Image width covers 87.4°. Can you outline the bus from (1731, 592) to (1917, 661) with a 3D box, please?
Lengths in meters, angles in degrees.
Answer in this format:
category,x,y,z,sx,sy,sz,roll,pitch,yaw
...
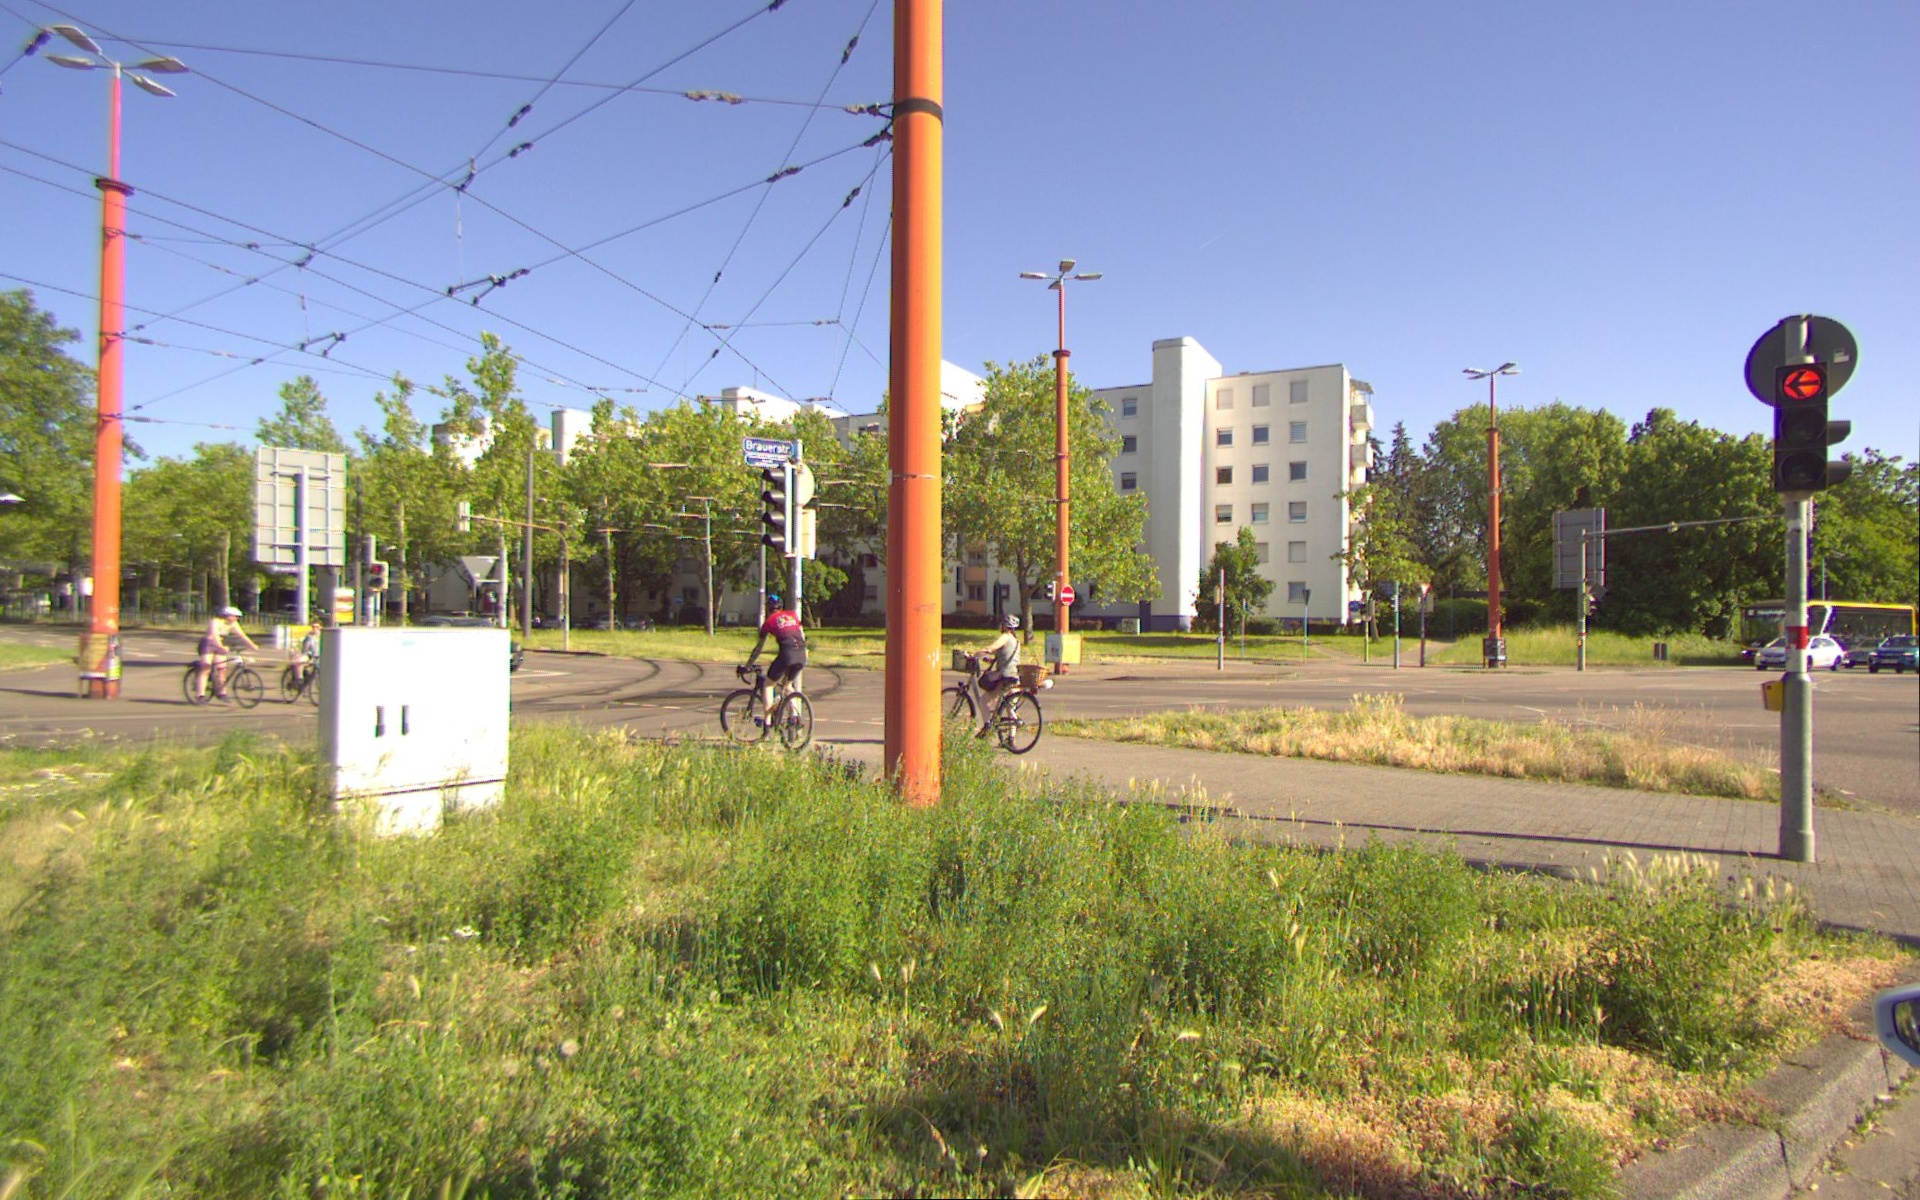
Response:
category,x,y,z,sx,sy,sz,roll,pitch,yaw
bus,45.608,1.441,52.854,12.368,3.304,2.637,2,0,-26

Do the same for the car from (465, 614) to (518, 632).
category,x,y,z,sx,sy,sz,roll,pitch,yaw
car,-38.843,1.901,83.389,3.665,1.349,1.496,2,0,-8

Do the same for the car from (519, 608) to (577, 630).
category,x,y,z,sx,sy,sz,roll,pitch,yaw
car,-32.551,1.490,79.433,3.868,1.614,1.656,2,0,-8

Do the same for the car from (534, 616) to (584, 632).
category,x,y,z,sx,sy,sz,roll,pitch,yaw
car,-30.899,1.840,77.438,3.346,1.162,1.305,2,0,-13

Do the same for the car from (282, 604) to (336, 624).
category,x,y,z,sx,sy,sz,roll,pitch,yaw
car,-66.304,1.443,102.357,4.274,2.010,1.932,1,-1,-19

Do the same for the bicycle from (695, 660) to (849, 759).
category,x,y,z,sx,sy,sz,roll,pitch,yaw
bicycle,-2.291,1.286,12.146,1.883,1.085,0.690,-2,-2,33

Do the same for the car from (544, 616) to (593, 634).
category,x,y,z,sx,sy,sz,roll,pitch,yaw
car,-29.331,1.874,75.341,3.219,1.172,1.357,2,0,-12

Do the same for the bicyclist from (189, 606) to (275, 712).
category,x,y,z,sx,sy,sz,roll,pitch,yaw
bicyclist,-13.598,1.075,18.777,0.905,1.892,0.893,2,0,17

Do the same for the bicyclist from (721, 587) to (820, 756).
category,x,y,z,sx,sy,sz,roll,pitch,yaw
bicyclist,-2.293,0.845,12.152,0.974,1.938,0.685,-1,-2,33

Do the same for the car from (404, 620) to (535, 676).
category,x,y,z,sx,sy,sz,roll,pitch,yaw
car,-15.222,1.432,31.099,3.977,1.516,1.913,2,0,34

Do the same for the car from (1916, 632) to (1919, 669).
category,x,y,z,sx,sy,sz,roll,pitch,yaw
car,42.606,2.162,42.717,3.955,1.575,1.891,2,-2,-32

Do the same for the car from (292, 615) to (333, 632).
category,x,y,z,sx,sy,sz,roll,pitch,yaw
car,-59.286,2.189,91.956,3.884,1.522,1.833,-1,-3,35

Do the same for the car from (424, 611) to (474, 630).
category,x,y,z,sx,sy,sz,roll,pitch,yaw
car,-43.262,1.744,85.100,3.592,1.480,1.608,2,0,-19

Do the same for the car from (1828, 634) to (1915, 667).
category,x,y,z,sx,sy,sz,roll,pitch,yaw
car,43.135,2.367,47.533,3.952,1.533,1.877,1,-2,-29

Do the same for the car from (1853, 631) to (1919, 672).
category,x,y,z,sx,sy,sz,roll,pitch,yaw
car,37.296,2.034,39.767,3.813,1.535,1.793,1,-3,-30

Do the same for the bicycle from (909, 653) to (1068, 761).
category,x,y,z,sx,sy,sz,roll,pitch,yaw
bicycle,0.316,1.246,12.187,1.887,1.146,0.737,0,-1,41

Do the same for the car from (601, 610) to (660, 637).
category,x,y,z,sx,sy,sz,roll,pitch,yaw
car,-23.669,1.687,72.297,3.874,1.841,1.651,2,0,-13

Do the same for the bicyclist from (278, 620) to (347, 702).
category,x,y,z,sx,sy,sz,roll,pitch,yaw
bicyclist,-12.896,1.195,20.005,0.906,1.545,0.720,2,0,20

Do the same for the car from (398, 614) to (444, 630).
category,x,y,z,sx,sy,sz,roll,pitch,yaw
car,-46.629,1.907,86.955,3.370,1.204,1.439,2,0,-23

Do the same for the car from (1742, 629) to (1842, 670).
category,x,y,z,sx,sy,sz,roll,pitch,yaw
car,35.366,2.104,42.688,4.168,1.673,1.869,2,-3,-29

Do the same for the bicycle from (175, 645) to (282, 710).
category,x,y,z,sx,sy,sz,roll,pitch,yaw
bicycle,-13.642,1.431,18.735,1.877,1.086,0.580,2,0,17

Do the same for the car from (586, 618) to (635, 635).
category,x,y,z,sx,sy,sz,roll,pitch,yaw
car,-25.834,1.980,74.314,3.279,1.149,1.321,2,0,-11

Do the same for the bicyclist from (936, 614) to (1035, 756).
category,x,y,z,sx,sy,sz,roll,pitch,yaw
bicyclist,0.315,0.996,12.229,0.815,1.643,0.888,0,-1,41

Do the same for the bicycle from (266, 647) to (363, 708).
category,x,y,z,sx,sy,sz,roll,pitch,yaw
bicycle,-12.858,1.528,19.998,1.878,1.086,0.580,2,0,19
